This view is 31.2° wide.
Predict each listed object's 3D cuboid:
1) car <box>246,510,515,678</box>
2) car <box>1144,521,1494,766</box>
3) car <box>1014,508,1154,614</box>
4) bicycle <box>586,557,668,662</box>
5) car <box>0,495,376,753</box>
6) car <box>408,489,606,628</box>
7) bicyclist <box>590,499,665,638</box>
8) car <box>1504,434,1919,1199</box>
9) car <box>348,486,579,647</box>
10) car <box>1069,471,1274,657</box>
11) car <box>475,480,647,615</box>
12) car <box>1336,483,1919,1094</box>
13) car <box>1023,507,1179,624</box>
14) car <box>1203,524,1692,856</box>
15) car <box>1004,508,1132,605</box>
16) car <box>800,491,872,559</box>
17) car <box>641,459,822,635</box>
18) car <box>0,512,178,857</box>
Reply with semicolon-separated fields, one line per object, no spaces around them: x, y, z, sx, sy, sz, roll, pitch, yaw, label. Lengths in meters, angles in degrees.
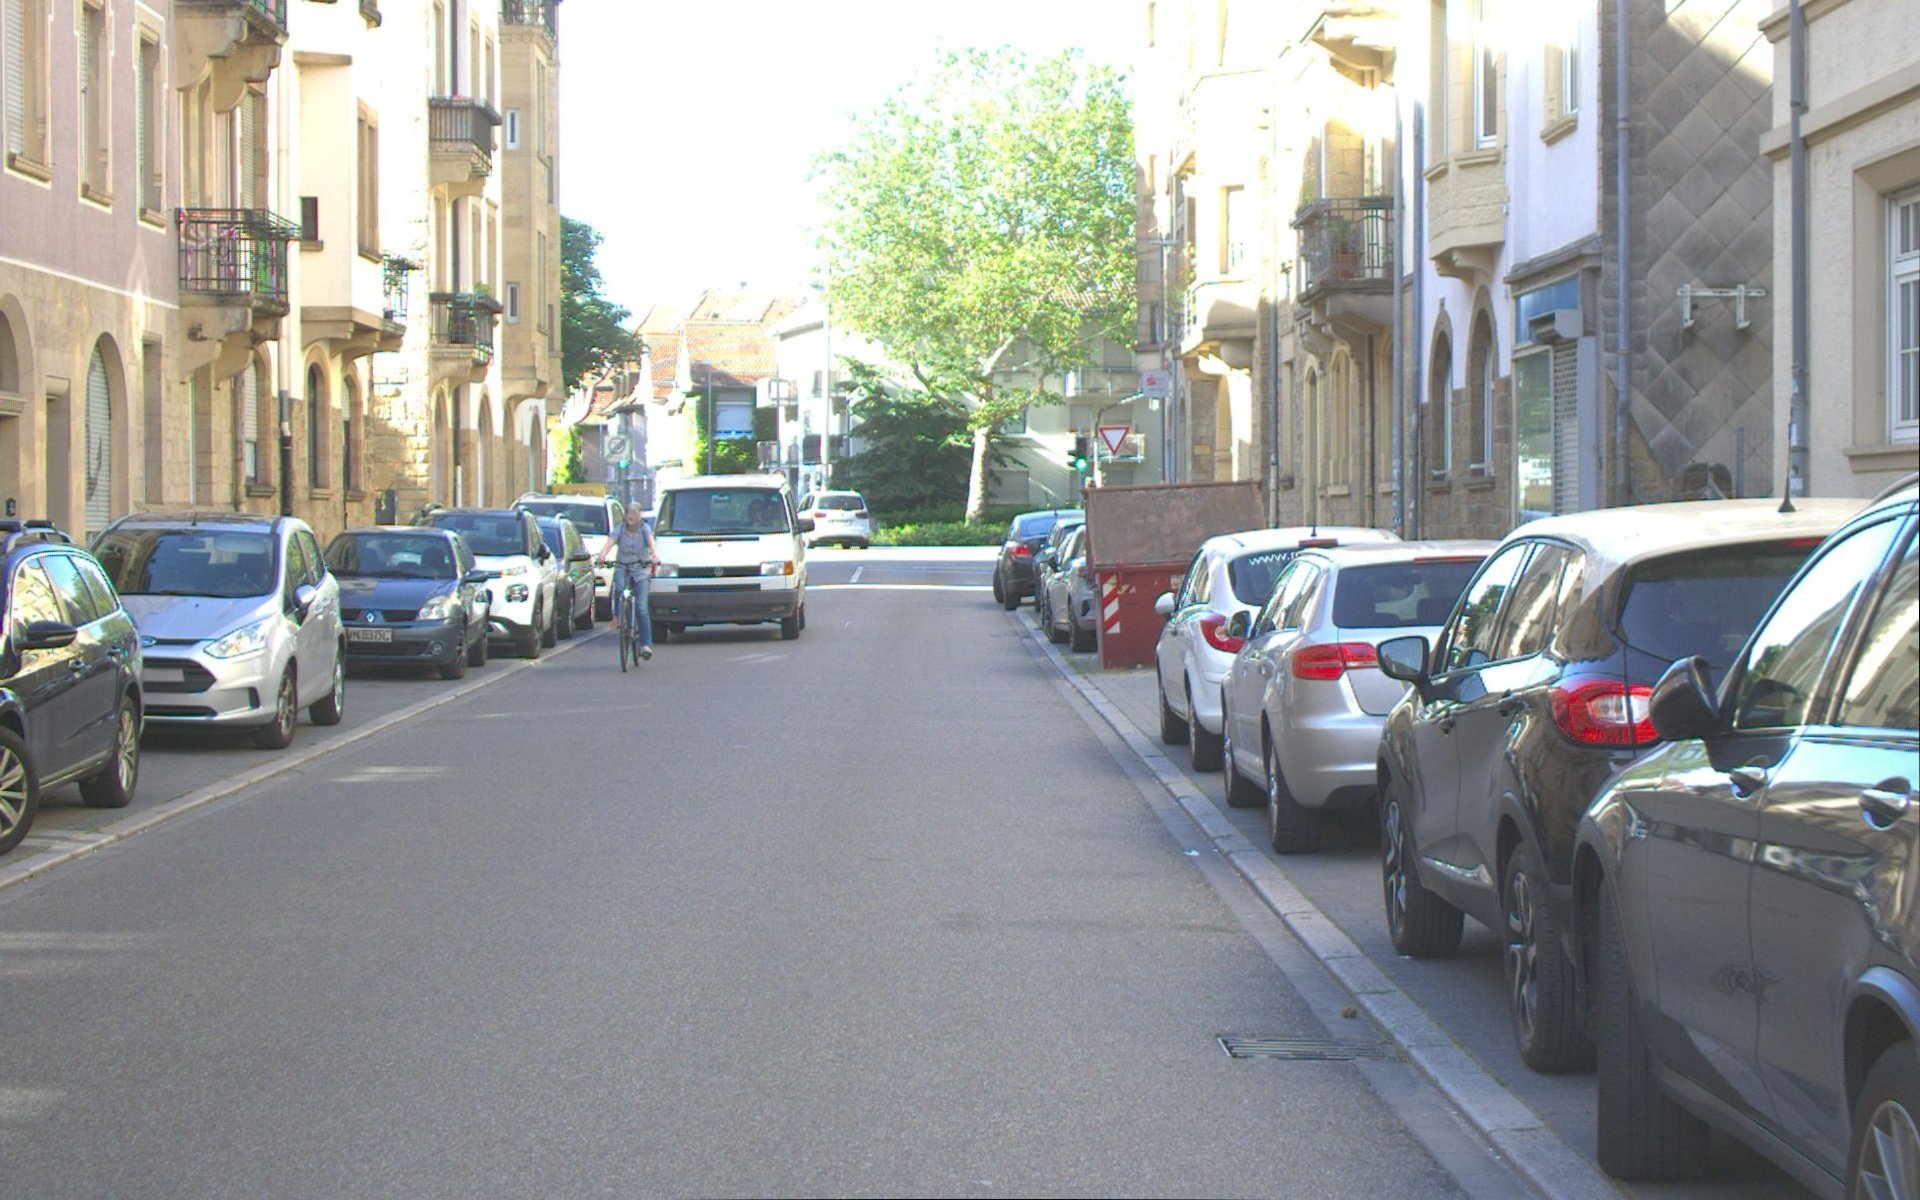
-5.593;-0.088;33.709;1.978;1.477;4.328;2;1;-2;car
2.263;0.251;22.633;1.838;1.426;4.029;-1;0;0;car
1.746;-0.539;49.685;1.838;1.426;4.029;-1;0;0;car
-3.382;0.082;35.053;0.662;1.015;2.067;-2;1;-2;bicycle
-5.523;0.117;24.579;2.003;1.613;4.488;2;1;-2;car
-5.704;-0.537;43.800;2.003;1.613;4.488;2;1;-2;car
-3.379;-0.325;34.987;0.662;1.381;0.754;-2;1;-2;bicyclist
2.335;0.560;6.555;1.913;1.639;4.773;-1;0;1;car
-5.453;-0.387;38.298;2.003;1.613;4.488;2;1;-2;car
2.116;-0.346;35.422;1.838;1.781;4.029;-1;0;0;car
-5.670;-0.760;49.342;2.003;1.782;4.488;2;1;-2;car
2.338;0.488;11.178;1.745;1.602;4.029;-1;0;0;car
1.802;-0.431;45.116;1.838;1.426;4.029;-1;0;0;car
2.303;0.392;17.243;1.838;1.426;4.029;-1;0;0;car
1.666;-0.655;54.246;1.838;1.426;4.029;-1;0;0;car
-3.687;-2.237;103.116;2.003;1.907;4.488;2;1;-1;car
-2.764;-0.660;42.549;2.003;1.993;4.488;2;1;-2;car
-5.409;0.326;17.283;2.003;1.577;4.488;2;1;-2;car
